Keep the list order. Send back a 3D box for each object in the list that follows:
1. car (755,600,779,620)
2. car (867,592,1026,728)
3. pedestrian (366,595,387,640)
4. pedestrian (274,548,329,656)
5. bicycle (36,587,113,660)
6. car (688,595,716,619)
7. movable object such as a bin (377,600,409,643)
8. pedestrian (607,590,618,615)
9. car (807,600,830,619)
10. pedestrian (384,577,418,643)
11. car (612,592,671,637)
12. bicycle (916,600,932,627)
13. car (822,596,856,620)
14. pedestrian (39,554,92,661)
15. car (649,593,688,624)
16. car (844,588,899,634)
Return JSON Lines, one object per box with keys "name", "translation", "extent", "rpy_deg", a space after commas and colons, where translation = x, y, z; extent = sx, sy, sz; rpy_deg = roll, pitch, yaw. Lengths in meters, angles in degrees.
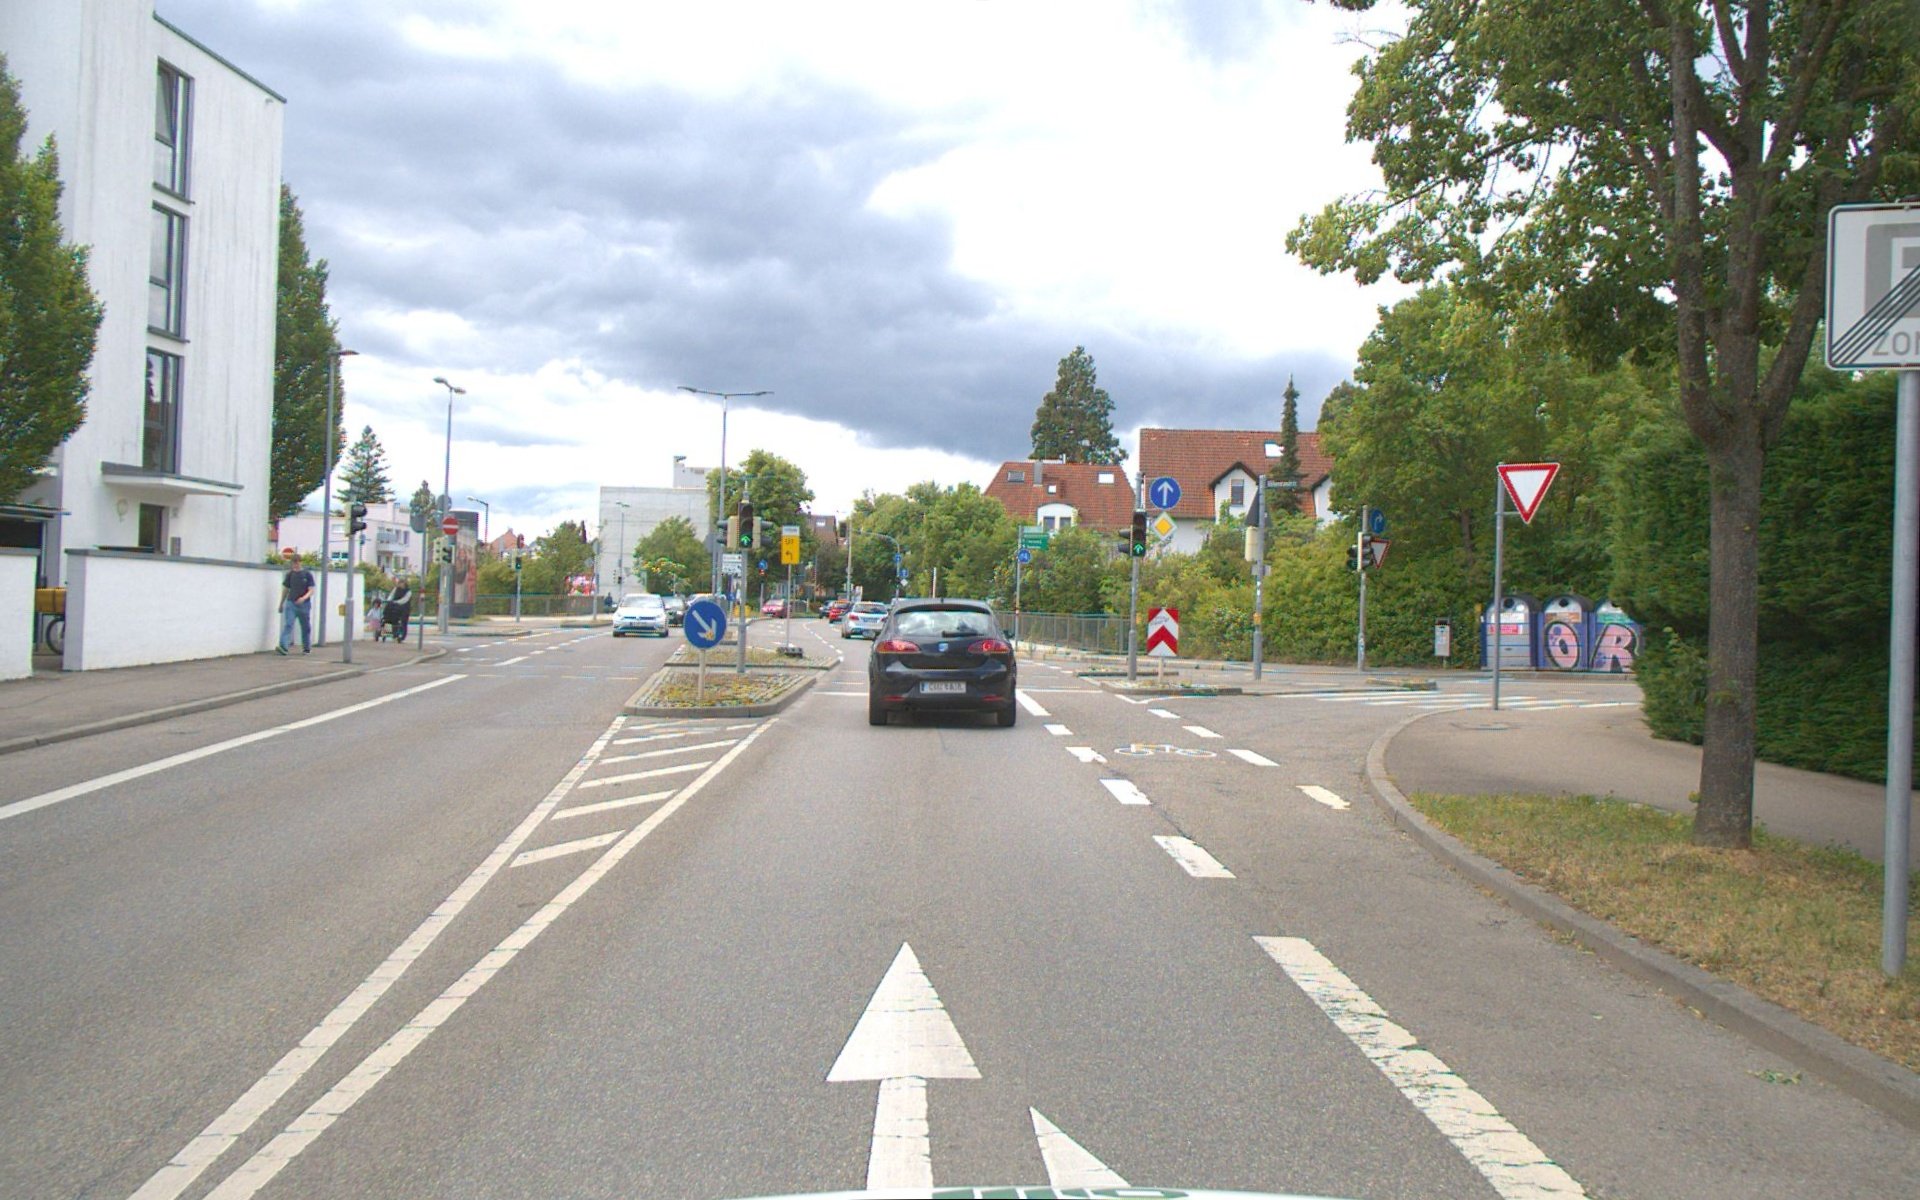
{"name": "car", "translation": [-14.888, 0.799, 127.711], "extent": [1.688, 1.473, 4.059], "rpy_deg": [2, 0, -8]}
{"name": "car", "translation": [-0.238, 0.656, 20.013], "extent": [1.724, 1.474, 3.712], "rpy_deg": [1, 0, -3]}
{"name": "pedestrian", "translation": [-14.436, 0.422, 40.936], "extent": [0.319, 1.080, 0.443], "rpy_deg": [5, -1, -8]}
{"name": "pedestrian", "translation": [-12.535, 0.043, 31.512], "extent": [0.636, 1.982, 0.870], "rpy_deg": [4, -1, -6]}
{"name": "bicycle", "translation": [-14.736, 0.382, 27.571], "extent": [0.498, 1.184, 1.653], "rpy_deg": [0, 0, -4]}
{"name": "car", "translation": [-16.043, 0.432, 102.931], "extent": [1.612, 1.433, 3.812], "rpy_deg": [2, 0, -8]}
{"name": "movable object such as a bin", "translation": [-13.815, 0.520, 40.305], "extent": [0.488, 0.976, 0.984], "rpy_deg": [6, -1, -9]}
{"name": "pedestrian", "translation": [-23.814, 0.170, 113.235], "extent": [0.644, 1.662, 1.067], "rpy_deg": [3, -1, -12]}
{"name": "car", "translation": [-12.698, 0.822, 148.631], "extent": [1.789, 1.655, 4.271], "rpy_deg": [2, 0, -8]}
{"name": "pedestrian", "translation": [-13.884, 0.241, 41.113], "extent": [0.521, 1.569, 0.730], "rpy_deg": [6, -1, -9]}
{"name": "car", "translation": [-10.829, 0.476, 56.475], "extent": [1.765, 1.469, 3.941], "rpy_deg": [1, 0, -8]}
{"name": "bicycle", "translation": [-2.075, 0.762, 96.092], "extent": [0.873, 1.537, 2.782], "rpy_deg": [1, 0, -1]}
{"name": "car", "translation": [-7.902, 0.516, 107.960], "extent": [1.905, 1.507, 4.245], "rpy_deg": [1, 0, -8]}
{"name": "pedestrian", "translation": [-14.700, 0.119, 27.185], "extent": [0.517, 1.729, 0.603], "rpy_deg": [1, -1, -4]}
{"name": "car", "translation": [-13.992, 0.405, 79.460], "extent": [1.688, 1.415, 3.911], "rpy_deg": [1, 0, -8]}
{"name": "car", "translation": [-3.582, 0.420, 66.229], "extent": [1.785, 1.729, 4.245], "rpy_deg": [1, 0, -8]}
